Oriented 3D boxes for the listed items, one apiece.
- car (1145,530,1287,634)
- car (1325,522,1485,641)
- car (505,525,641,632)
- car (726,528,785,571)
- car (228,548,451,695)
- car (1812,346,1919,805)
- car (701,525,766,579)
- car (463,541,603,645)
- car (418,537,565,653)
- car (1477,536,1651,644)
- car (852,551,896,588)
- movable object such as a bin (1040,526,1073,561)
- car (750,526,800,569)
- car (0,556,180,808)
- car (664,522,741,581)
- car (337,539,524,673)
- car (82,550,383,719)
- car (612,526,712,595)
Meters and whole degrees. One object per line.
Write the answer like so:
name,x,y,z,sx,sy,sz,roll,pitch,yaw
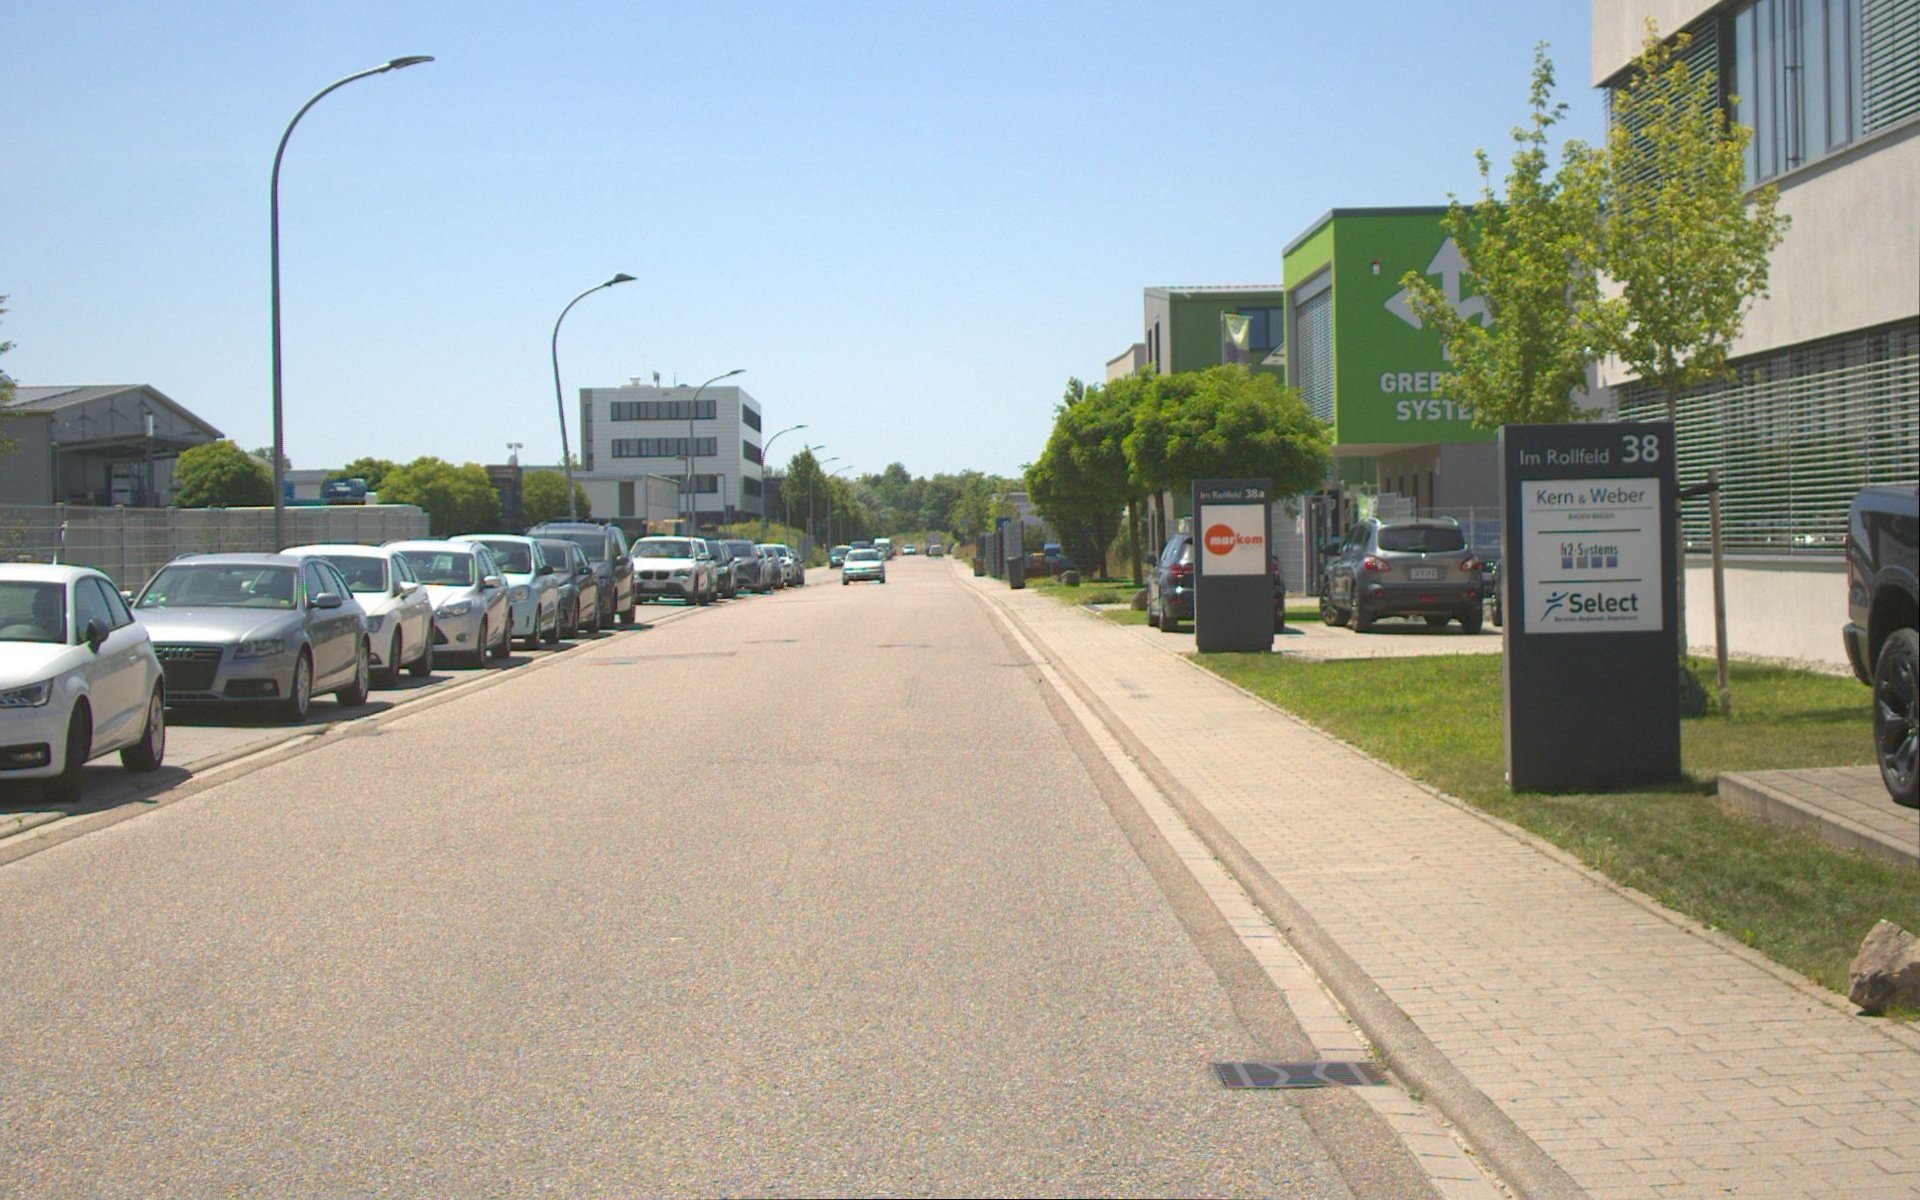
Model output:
car,3.645,-0.292,49.557,1.692,1.423,4.246,0,1,-1
car,6.329,-0.298,49.245,1.723,1.627,4.023,0,1,-1
car,-6.481,-0.397,57.962,1.802,1.713,4.622,0,1,0
car,-7.152,-1.777,120.604,1.857,1.475,4.229,0,1,-1
car,-6.652,0.186,37.262,1.703,1.439,4.440,0,1,-1
car,5.223,-0.050,13.741,1.993,2.006,5.801,-1,3,-2
car,-6.864,-1.478,104.607,1.790,1.601,4.463,0,1,-1
car,-6.523,-0.140,52.838,1.634,1.495,3.972,0,1,0
car,-6.522,-0.096,48.165,1.634,1.531,3.658,0,1,-1
car,8.527,-0.174,48.848,1.723,1.444,4.023,0,1,-1
car,-3.543,-1.277,142.245,1.704,1.406,4.784,-3,1,-1
movable object such as a bin,4.079,-2.385,145.617,1.334,1.454,0.949,-1,1,-1
car,-6.980,-1.973,129.731,1.769,1.586,4.360,0,1,-2
car,-6.186,0.463,21.968,1.699,1.381,3.938,-1,2,-3
car,-6.809,-1.305,91.178,1.763,1.512,4.380,0,1,-1
car,-6.505,0.033,42.630,1.703,1.531,4.573,0,1,-1
car,-6.375,0.268,30.606,1.684,1.381,4.639,0,0,0
car,-6.735,-0.918,78.142,1.787,1.537,4.364,0,1,1
